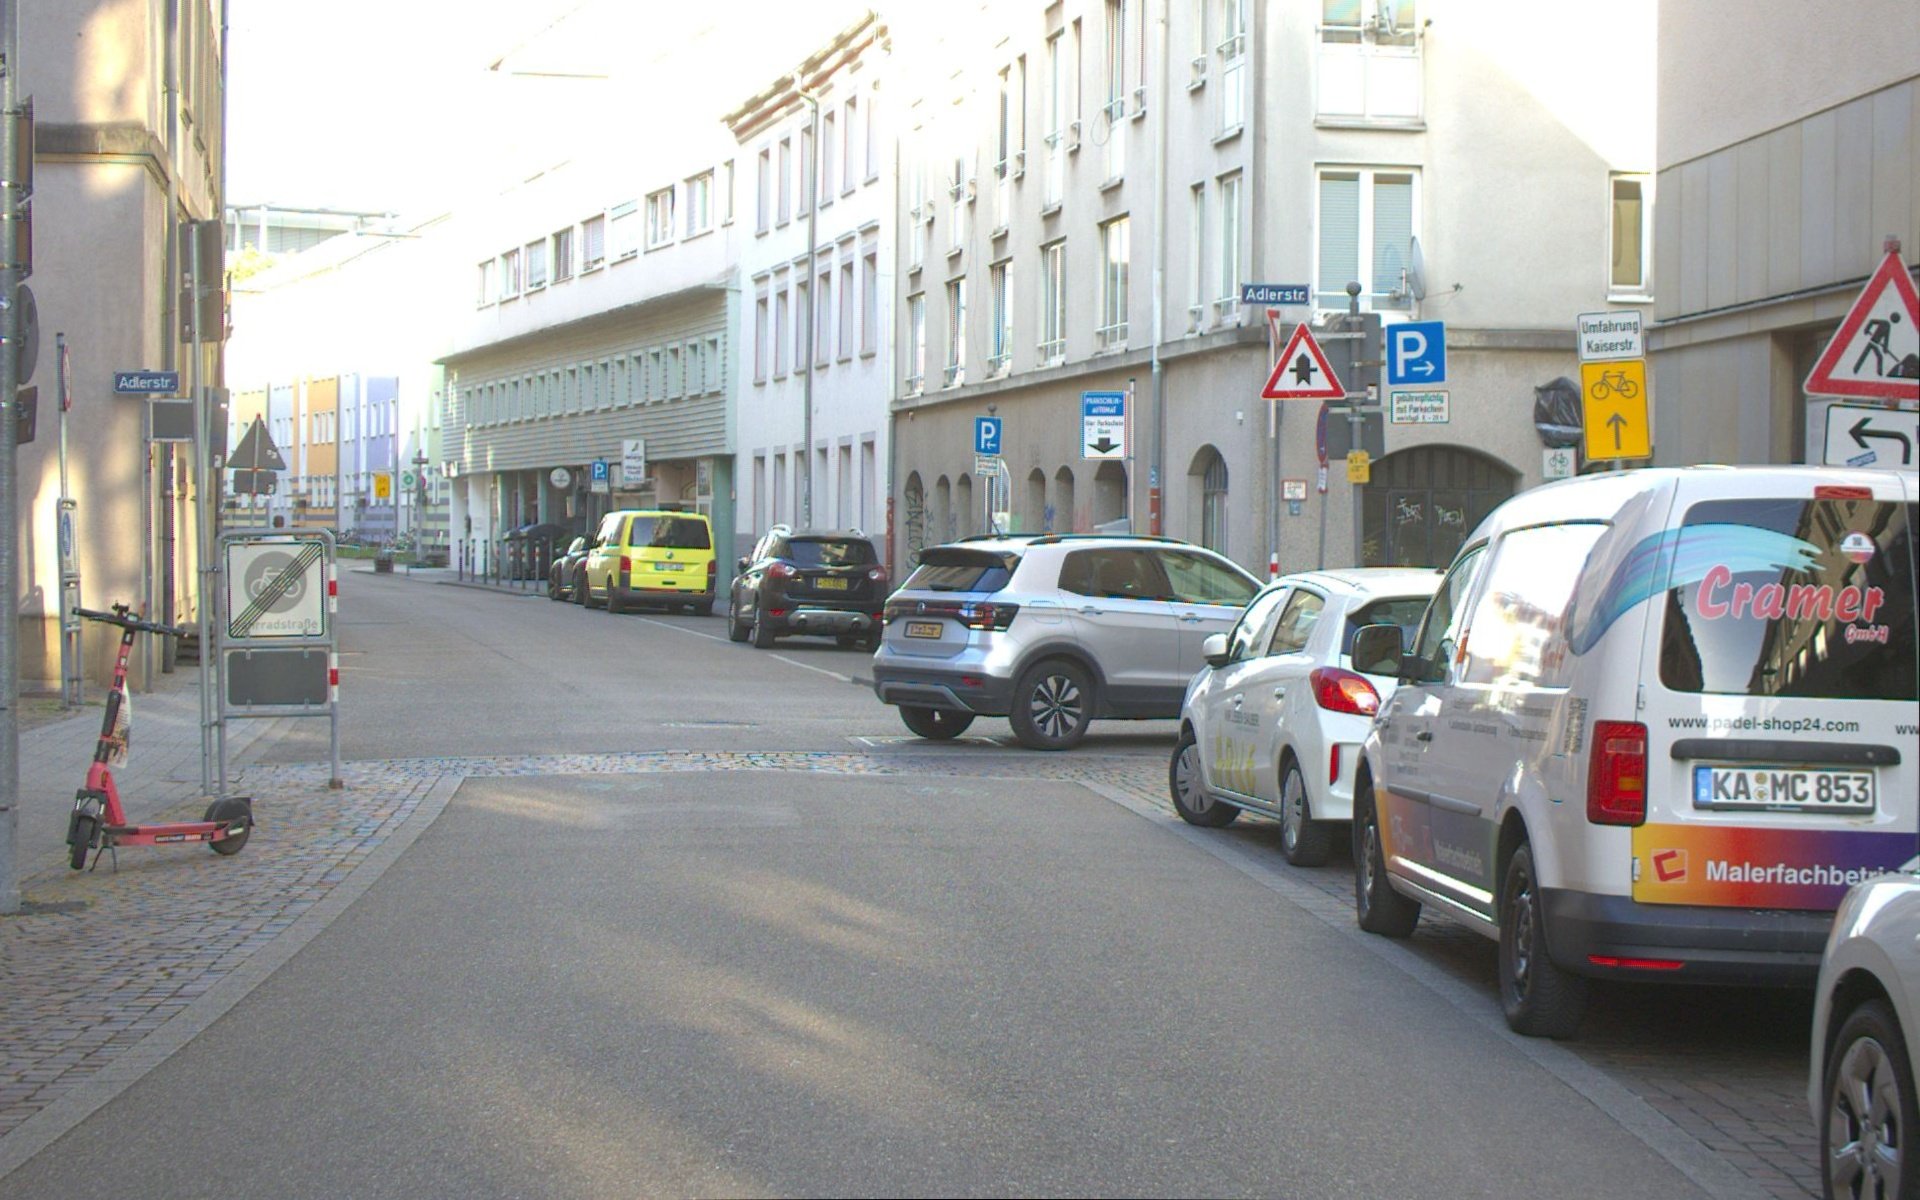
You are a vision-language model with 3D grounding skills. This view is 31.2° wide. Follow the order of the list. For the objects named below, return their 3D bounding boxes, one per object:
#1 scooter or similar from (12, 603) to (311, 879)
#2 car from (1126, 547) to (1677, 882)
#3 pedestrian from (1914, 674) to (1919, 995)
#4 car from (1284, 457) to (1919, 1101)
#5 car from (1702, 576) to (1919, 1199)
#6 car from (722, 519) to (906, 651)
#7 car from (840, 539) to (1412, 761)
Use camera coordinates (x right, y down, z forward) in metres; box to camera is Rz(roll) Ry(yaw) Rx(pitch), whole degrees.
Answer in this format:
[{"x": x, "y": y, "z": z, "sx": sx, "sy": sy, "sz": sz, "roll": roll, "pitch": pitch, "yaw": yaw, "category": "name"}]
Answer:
[{"x": -3.770, "y": 0.641, "z": 16.324, "sx": 0.698, "sy": 1.213, "sz": 1.355, "roll": 1, "pitch": 1, "yaw": 25, "category": "scooter or similar"}, {"x": 2.188, "y": 0.516, "z": 18.241, "sx": 1.888, "sy": 1.513, "sz": 4.064, "roll": 1, "pitch": 1, "yaw": -7, "category": "car"}, {"x": 4.095, "y": 0.573, "z": 12.144, "sx": 1.042, "sy": 1.795, "sz": 1.199, "roll": 1, "pitch": 1, "yaw": -3, "category": "pedestrian"}, {"x": 2.474, "y": 0.469, "z": 12.302, "sx": 1.830, "sy": 1.785, "sz": 5.215, "roll": 2, "pitch": 1, "yaw": -3, "category": "car"}, {"x": 2.810, "y": 0.782, "z": 6.008, "sx": 1.840, "sy": 1.473, "sz": 4.169, "roll": 3, "pitch": 1, "yaw": -3, "category": "car"}, {"x": -2.088, "y": -0.241, "z": 48.028, "sx": 1.967, "sy": 1.686, "sz": 4.102, "roll": 2, "pitch": 1, "yaw": -10, "category": "car"}, {"x": 1.284, "y": 0.327, "z": 26.173, "sx": 3.987, "sy": 1.557, "sz": 1.843, "roll": -1, "pitch": 2, "yaw": -31, "category": "car"}]
